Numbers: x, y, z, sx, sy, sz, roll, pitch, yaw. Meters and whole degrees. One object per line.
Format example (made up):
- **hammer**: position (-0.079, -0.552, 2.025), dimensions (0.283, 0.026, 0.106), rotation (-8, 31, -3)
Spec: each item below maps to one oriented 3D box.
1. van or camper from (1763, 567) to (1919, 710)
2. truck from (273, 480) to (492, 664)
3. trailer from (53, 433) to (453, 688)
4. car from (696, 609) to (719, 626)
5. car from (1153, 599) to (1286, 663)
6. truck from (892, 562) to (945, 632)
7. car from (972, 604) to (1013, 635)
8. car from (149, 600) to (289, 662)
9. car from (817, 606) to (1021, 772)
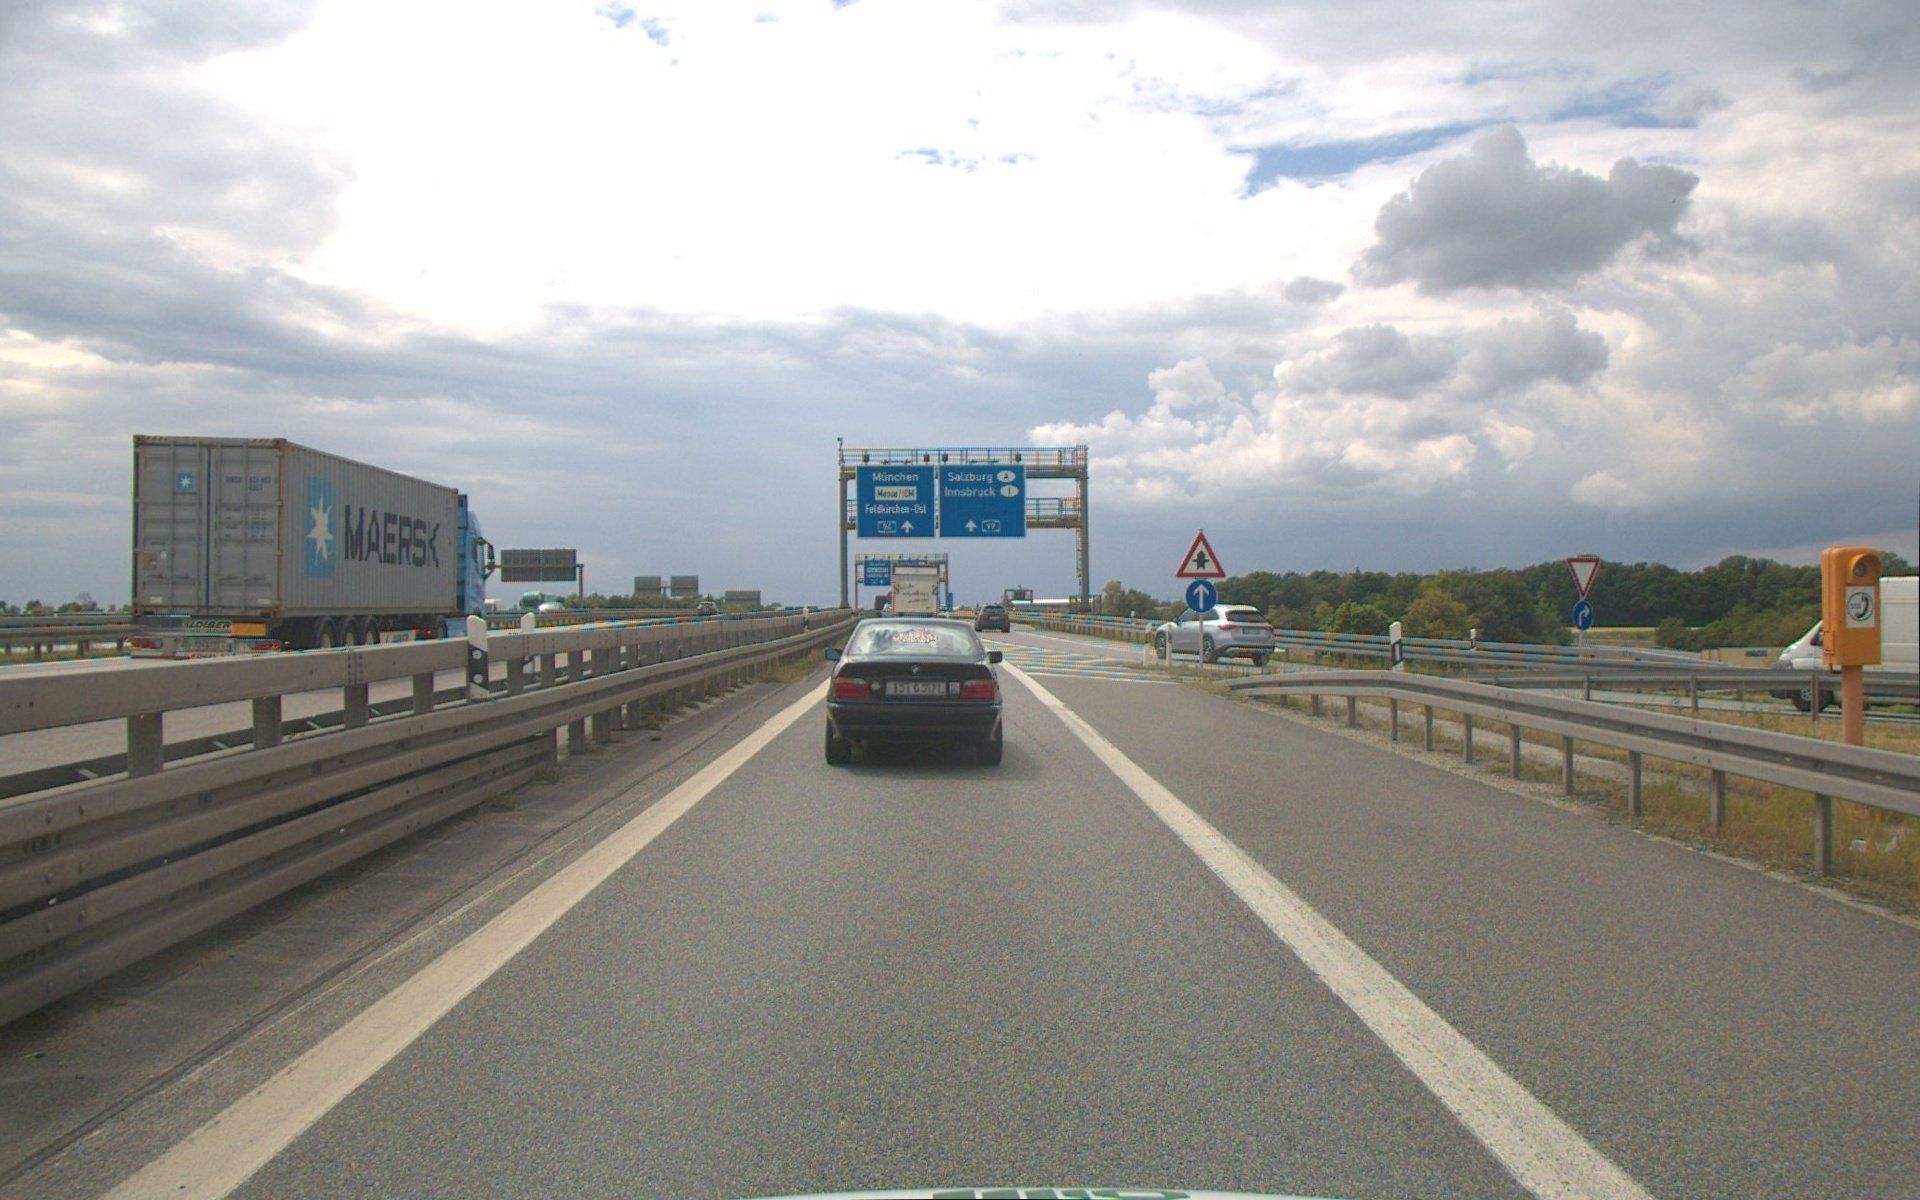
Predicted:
- **van or camper**: position (17.204, 0.671, 28.332), dimensions (2.210, 2.402, 5.855), rotation (1, 0, -39)
- **truck**: position (-13.542, -0.611, 39.422), dimensions (3.182, 3.980, 6.605), rotation (1, 0, -4)
- **trailer**: position (-13.114, -0.598, 32.459), dimensions (3.172, 3.993, 12.370), rotation (1, 0, -4)
- **car**: position (-23.808, 1.642, 155.981), dimensions (1.855, 1.625, 4.413), rotation (0, 0, -5)
- **car**: position (7.264, 0.857, 46.781), dimensions (1.908, 1.714, 4.182), rotation (0, -1, -21)
- **truck**: position (-1.999, -0.132, 77.799), dimensions (2.356, 3.144, 6.367), rotation (1, 0, -2)
- **car**: position (1.700, 1.026, 87.996), dimensions (1.953, 1.579, 3.999), rotation (1, 0, -2)
- **car**: position (-17.434, 0.697, 39.115), dimensions (1.718, 1.393, 4.201), rotation (0, 0, -5)
- **car**: position (-0.357, 0.776, 16.330), dimensions (1.746, 1.402, 4.136), rotation (1, 0, 0)
